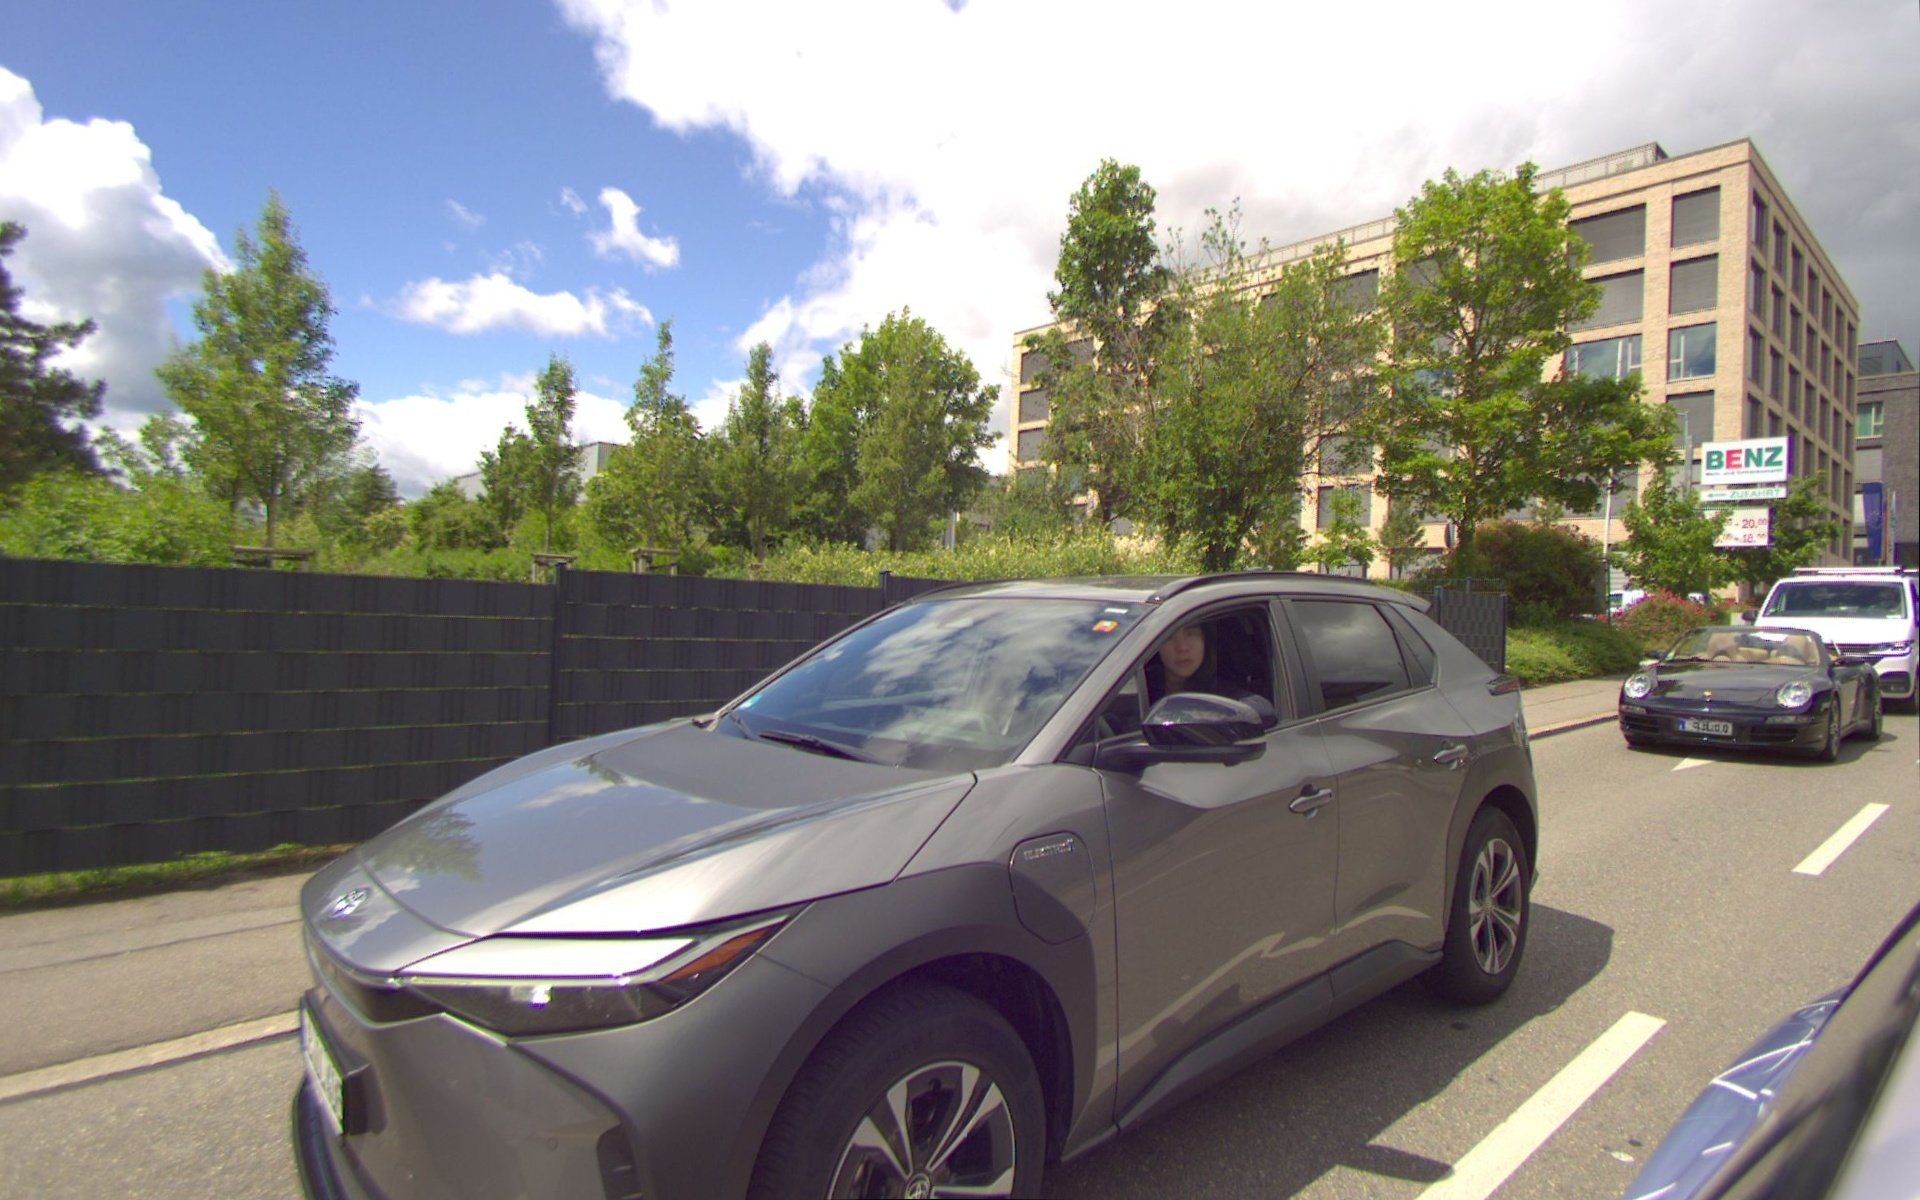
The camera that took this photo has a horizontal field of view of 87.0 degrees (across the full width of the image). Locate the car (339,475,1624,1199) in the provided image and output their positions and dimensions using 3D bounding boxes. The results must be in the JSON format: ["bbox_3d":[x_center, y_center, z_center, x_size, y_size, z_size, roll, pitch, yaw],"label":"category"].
[{"bbox_3d":[0.573,0.655,3.694,4.601,1.634,1.922,0,-1,-41],"label":"car"}]

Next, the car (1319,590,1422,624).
[{"bbox_3d":[19.346,0.284,47.815,1.705,1.436,4.215,1,1,-41],"label":"car"}]

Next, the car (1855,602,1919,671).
[{"bbox_3d":[20.497,0.725,21.229,4.485,1.290,1.778,0,1,-38],"label":"car"}]

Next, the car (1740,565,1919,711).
[{"bbox_3d":[13.442,0.503,15.125,4.563,1.874,1.962,0,-1,-41],"label":"car"}]

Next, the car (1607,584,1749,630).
[{"bbox_3d":[27.694,0.217,39.117,1.707,1.596,4.211,1,1,-44],"label":"car"}]

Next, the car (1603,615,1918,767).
[{"bbox_3d":[8.709,0.815,10.867,4.487,1.290,1.776,0,-1,-40],"label":"car"}]
